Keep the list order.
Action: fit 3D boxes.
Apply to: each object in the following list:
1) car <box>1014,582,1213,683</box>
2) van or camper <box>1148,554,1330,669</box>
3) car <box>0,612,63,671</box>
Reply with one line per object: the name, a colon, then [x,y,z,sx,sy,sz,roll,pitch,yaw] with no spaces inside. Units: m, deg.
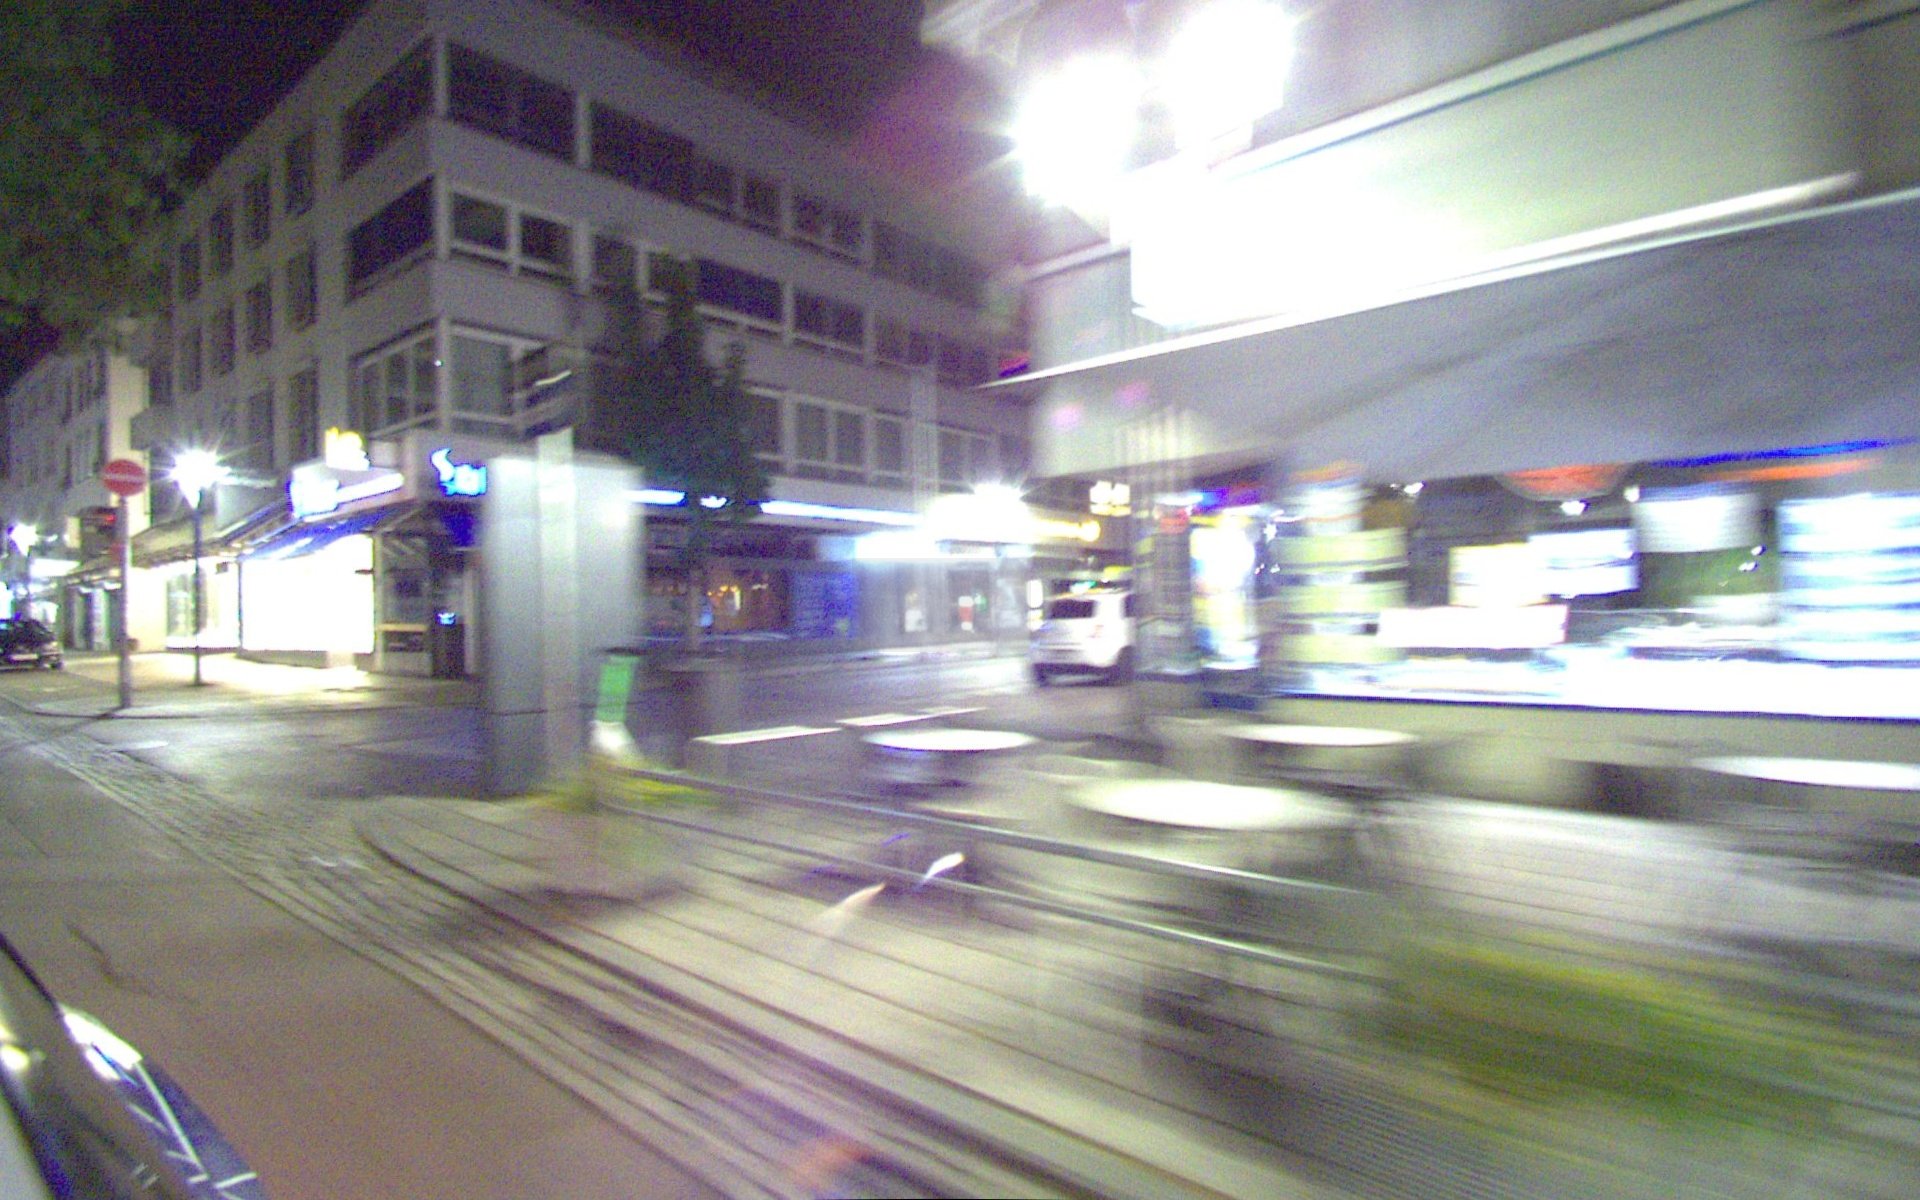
car: [2.700,0.525,17.263,1.796,1.532,3.565,-4,-2,38]
van or camper: [5.909,0.227,21.166,2.089,2.144,4.071,-4,-1,40]
car: [-25.588,1.094,27.213,4.012,1.436,1.634,-1,1,41]
